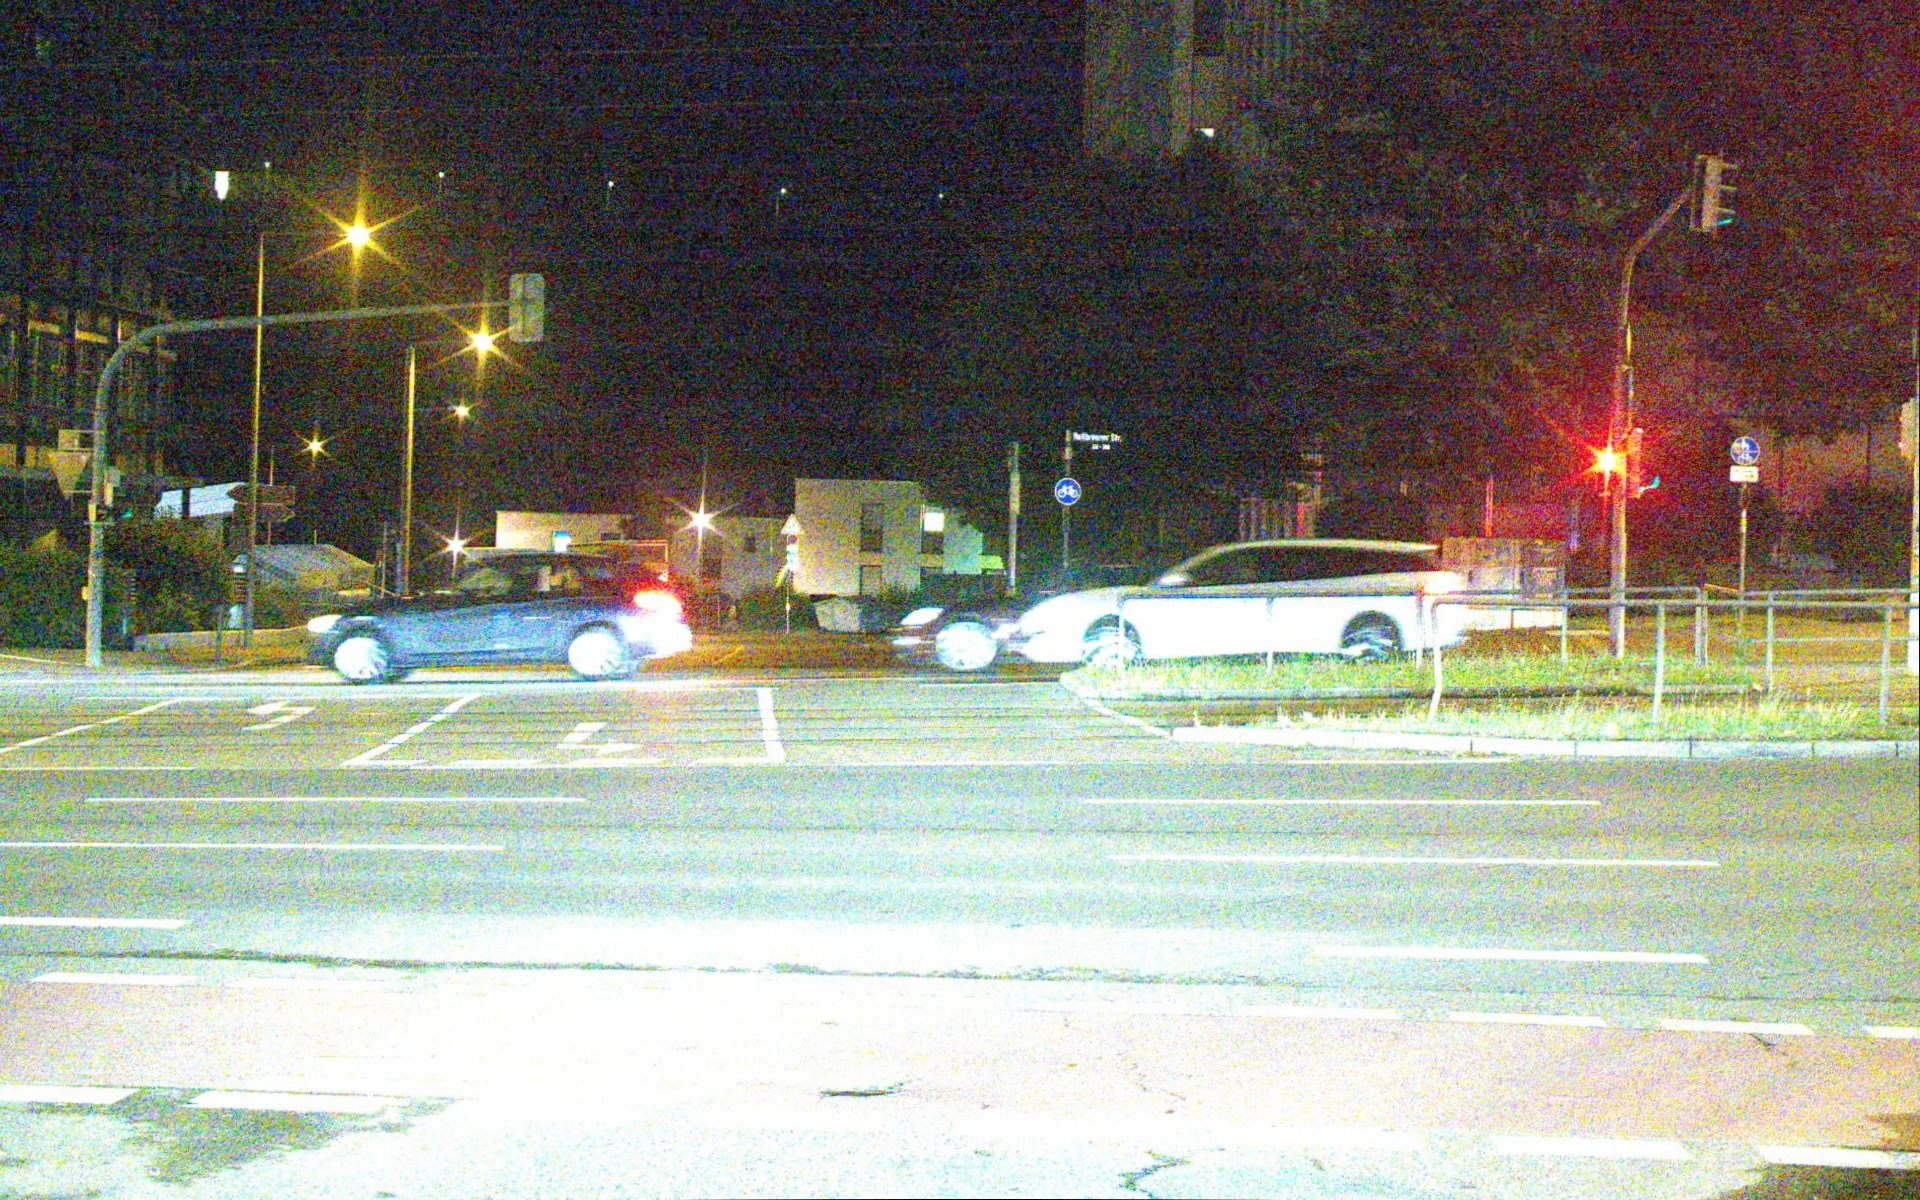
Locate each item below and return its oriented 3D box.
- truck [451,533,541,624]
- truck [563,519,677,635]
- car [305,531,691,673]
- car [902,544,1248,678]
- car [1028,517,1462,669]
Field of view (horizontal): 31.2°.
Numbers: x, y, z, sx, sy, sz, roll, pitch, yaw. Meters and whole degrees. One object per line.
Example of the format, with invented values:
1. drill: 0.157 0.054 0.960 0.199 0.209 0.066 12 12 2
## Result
1. truck: -16.288 -0.741 120.404 2.417 3.078 6.439 1 0 -14
2. truck: -14.781 -0.991 148.850 3.359 4.826 7.908 1 0 -17
3. car: -5.441 0.027 40.791 4.234 1.579 1.803 1 0 4
4. car: 1.442 0.140 43.289 4.234 1.579 1.887 1 0 2
5. car: 3.032 -0.097 37.297 4.570 1.579 1.847 0 2 2
